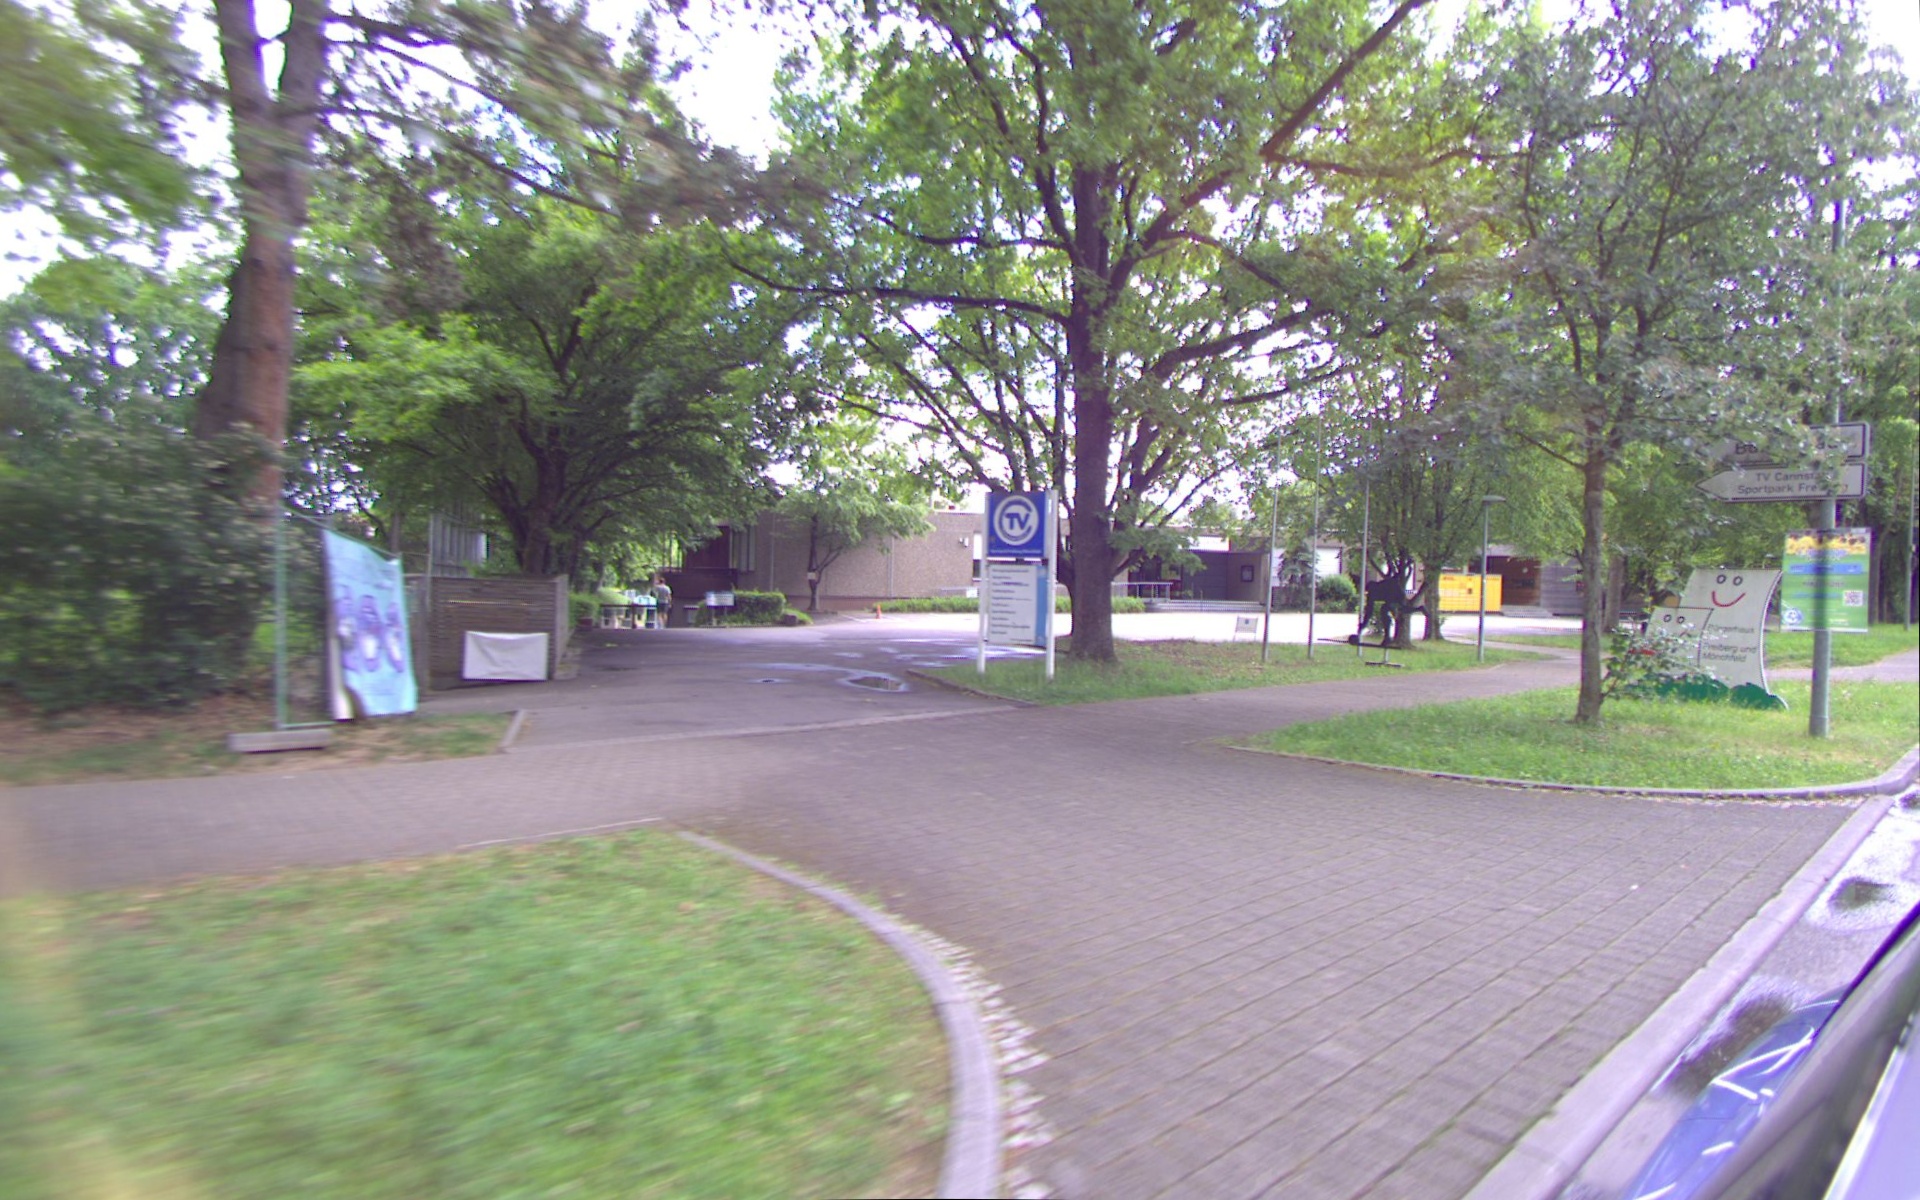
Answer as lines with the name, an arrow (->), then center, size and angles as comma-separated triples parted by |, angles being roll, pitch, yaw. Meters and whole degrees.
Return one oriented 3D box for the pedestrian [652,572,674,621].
pedestrian -> -10.293, -0.119, 35.080 | 0.671, 1.672, 0.502 | 1, 0, -24
